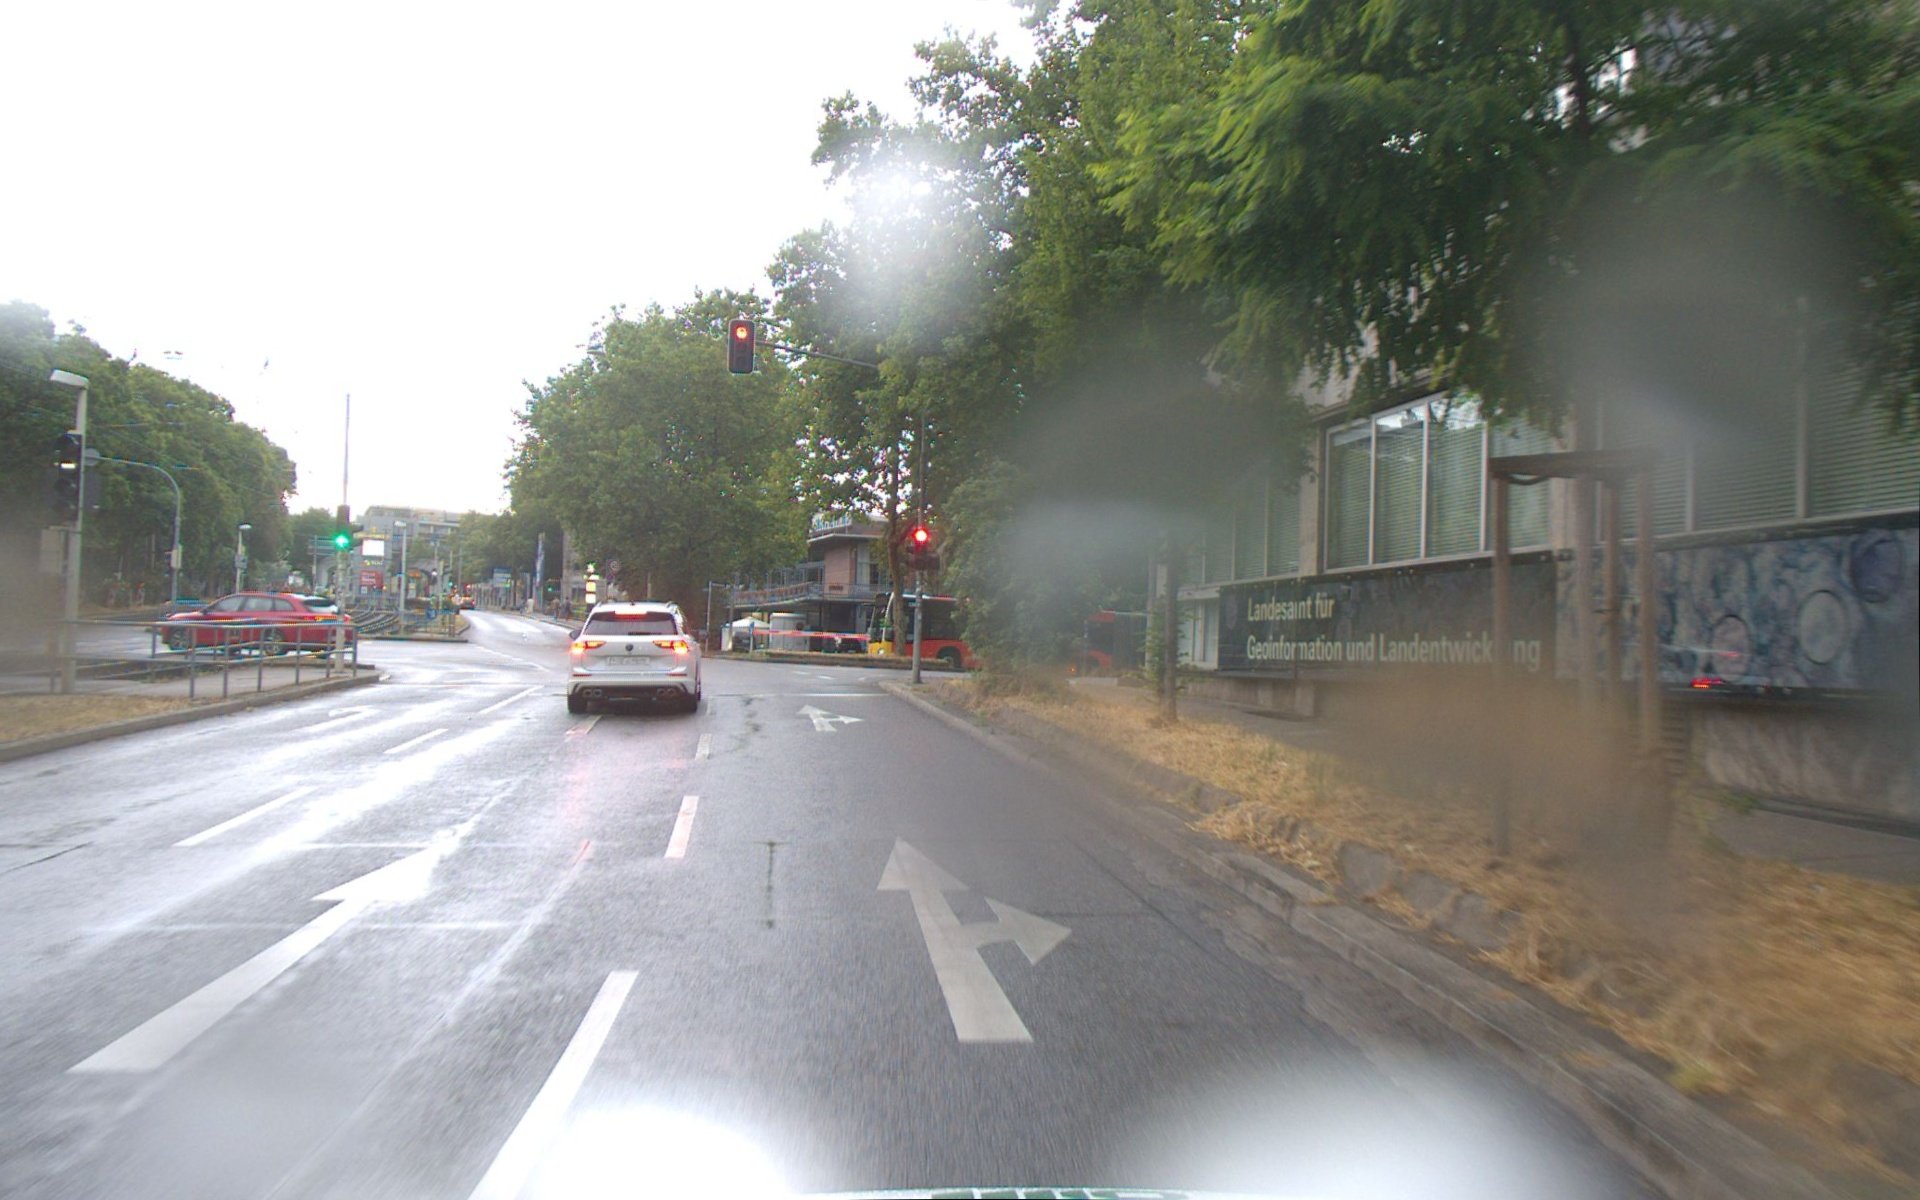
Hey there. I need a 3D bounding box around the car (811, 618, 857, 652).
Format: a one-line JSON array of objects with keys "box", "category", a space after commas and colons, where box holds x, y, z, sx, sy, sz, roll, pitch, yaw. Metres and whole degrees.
[{"box": [-8.263, 2.280, 108.089, 1.964, 2.049, 3.978, 4, -2, -19], "category": "car"}]

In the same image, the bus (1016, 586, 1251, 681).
[{"box": [7.006, 1.375, 66.725, 9.007, 3.165, 2.652, 4, -2, -16], "category": "bus"}]

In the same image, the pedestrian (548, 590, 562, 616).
[{"box": [-29.449, 0.208, 120.275, 0.745, 1.855, 0.696, 4, -2, -20], "category": "pedestrian"}]

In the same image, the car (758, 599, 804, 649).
[{"box": [-12.352, 1.634, 113.722, 2.500, 3.188, 5.015, 4, -2, -12], "category": "car"}]

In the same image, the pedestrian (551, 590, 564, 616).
[{"box": [-29.582, 0.236, 121.568, 0.745, 1.855, 0.696, 4, -2, -20], "category": "pedestrian"}]

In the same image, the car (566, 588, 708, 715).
[{"box": [-4.478, 0.662, 23.408, 1.647, 1.604, 4.246, 2, 0, -7], "category": "car"}]

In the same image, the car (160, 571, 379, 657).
[{"box": [-15.904, 0.329, 38.146, 4.311, 1.668, 1.987, 3, -2, 18], "category": "car"}]

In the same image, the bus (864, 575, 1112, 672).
[{"box": [1.113, 0.952, 65.041, 9.270, 3.165, 2.548, 4, -2, -16], "category": "bus"}]

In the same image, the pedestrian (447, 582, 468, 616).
[{"box": [-25.397, -0.039, 83.557, 0.723, 1.668, 0.870, 3, -2, -3], "category": "pedestrian"}]
